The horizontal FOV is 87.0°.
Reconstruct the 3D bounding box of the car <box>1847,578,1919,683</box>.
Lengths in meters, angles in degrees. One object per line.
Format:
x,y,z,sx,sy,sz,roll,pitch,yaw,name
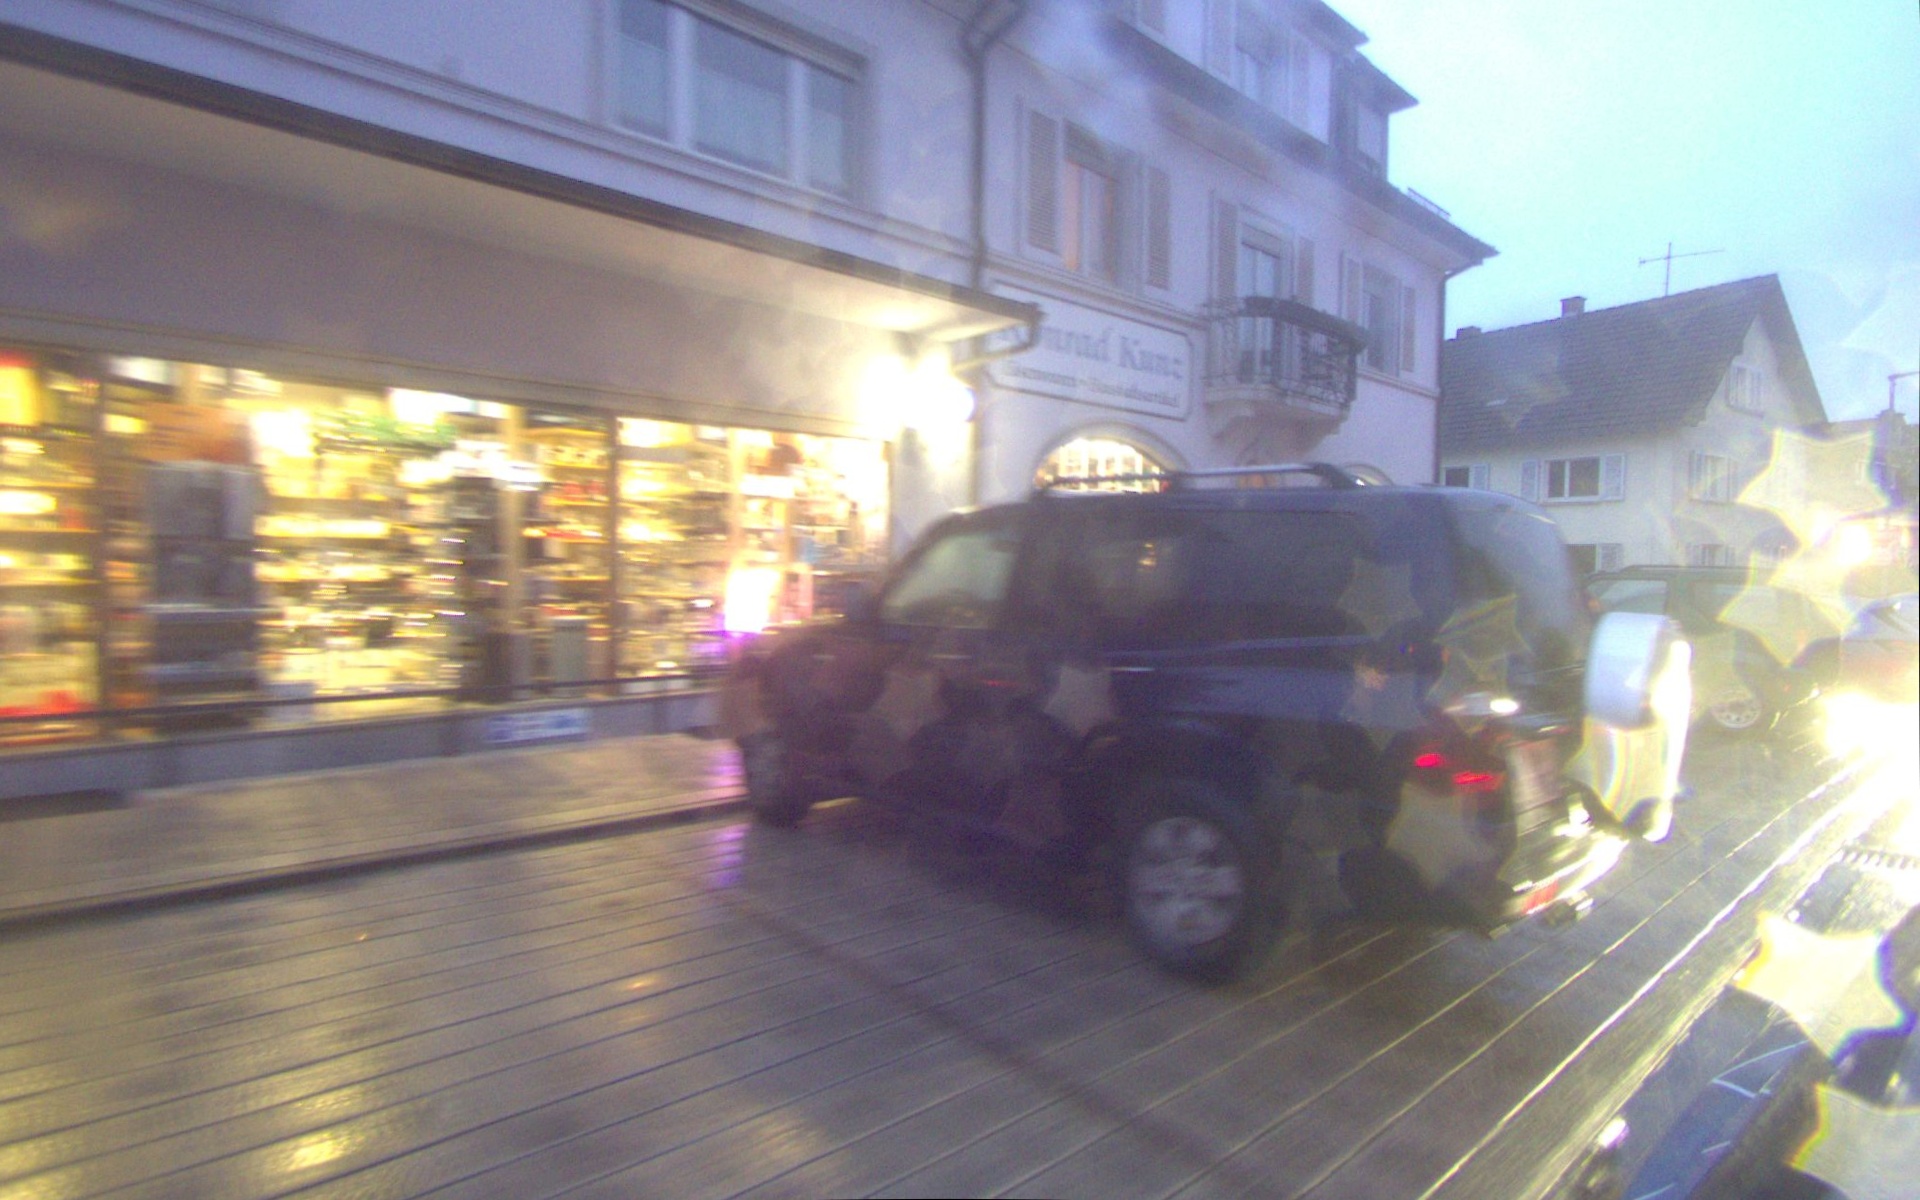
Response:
16.419,0.487,16.655,4.586,1.566,1.888,0,3,-38,car

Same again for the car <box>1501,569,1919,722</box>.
9.726,0.444,13.014,1.865,1.491,4.476,0,3,-41,car

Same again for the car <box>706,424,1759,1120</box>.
0.811,0.344,4.939,1.913,1.797,4.608,0,2,-44,car

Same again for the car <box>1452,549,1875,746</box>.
7.588,0.375,11.117,1.688,1.701,3.507,0,4,-45,car
